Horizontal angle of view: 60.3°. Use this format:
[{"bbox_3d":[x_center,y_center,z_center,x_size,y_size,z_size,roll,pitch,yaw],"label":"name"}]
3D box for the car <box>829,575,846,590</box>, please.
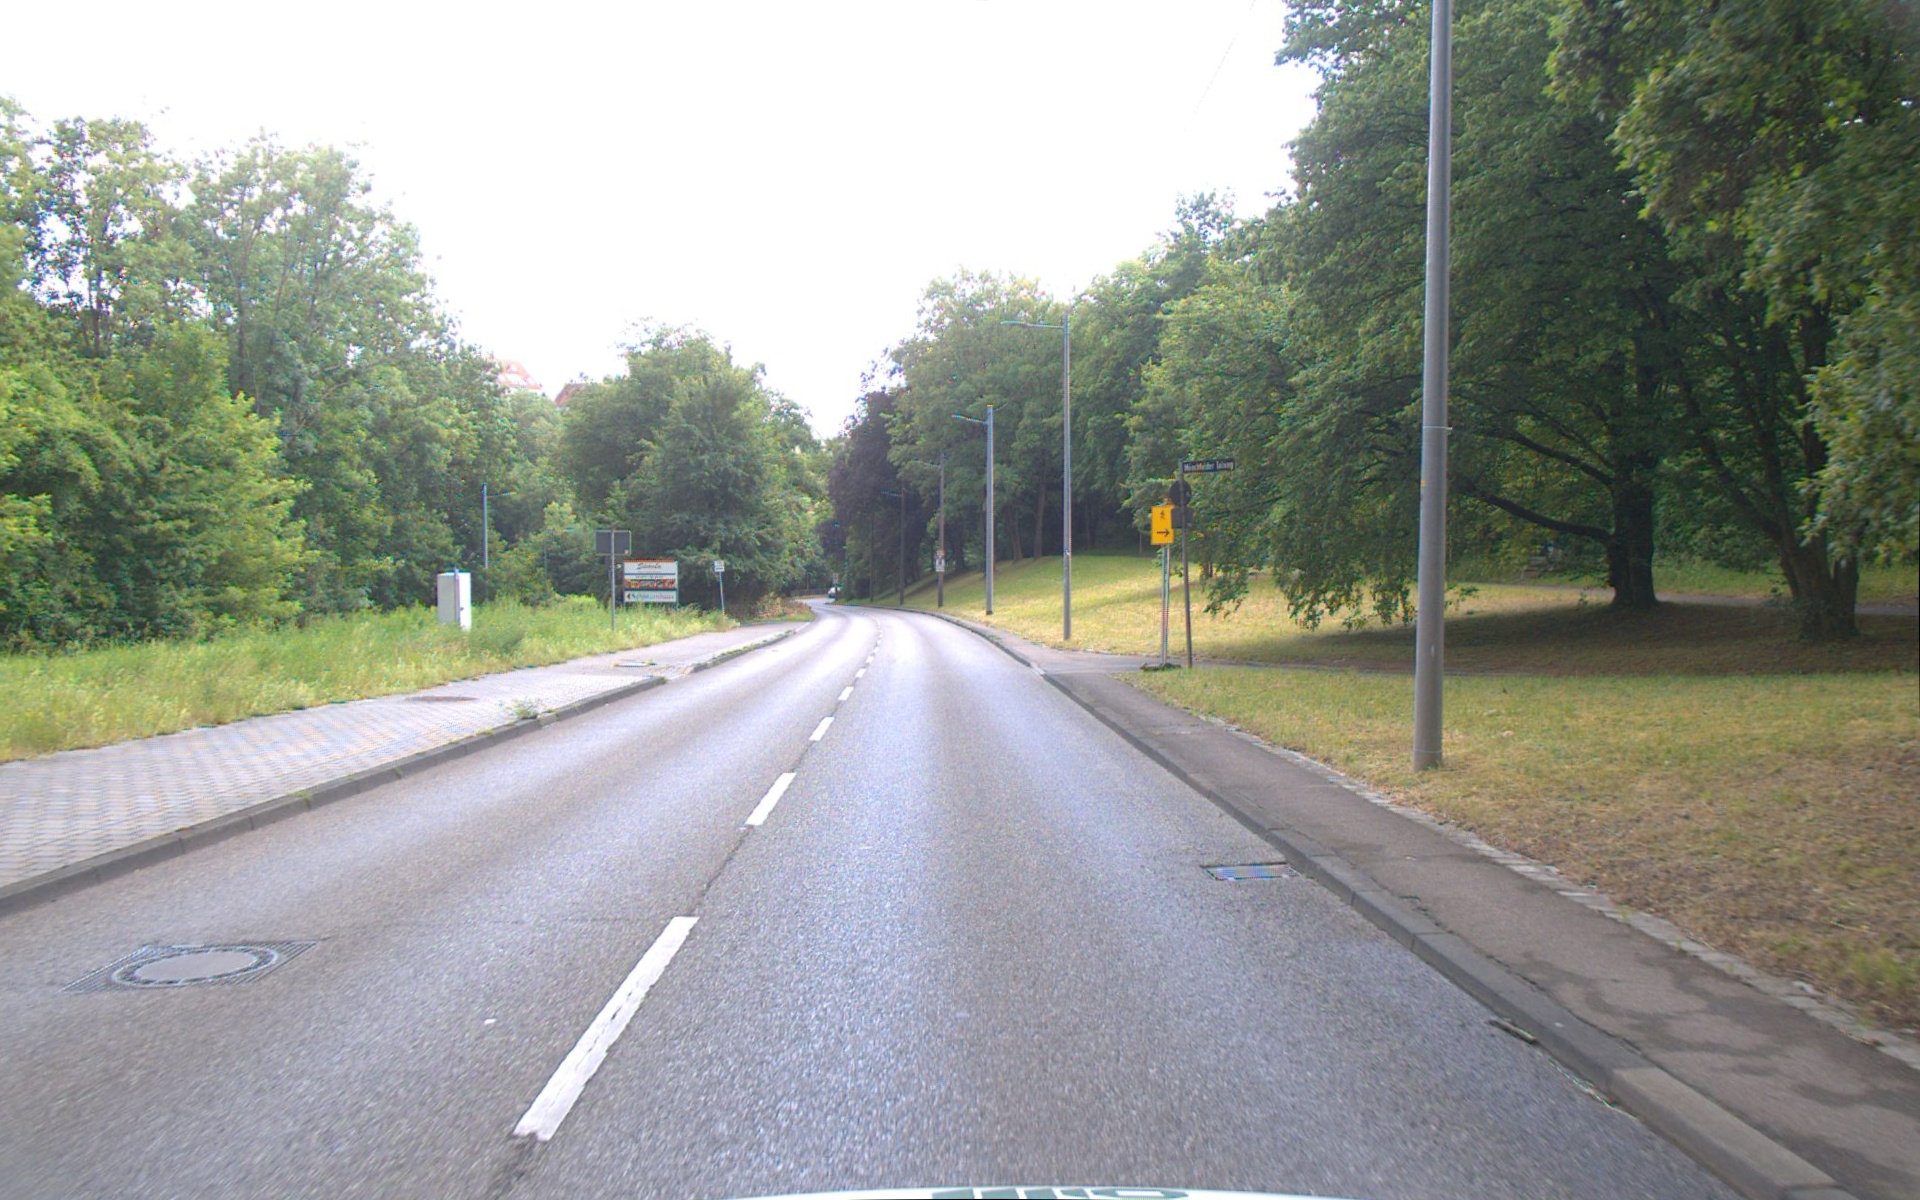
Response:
[{"bbox_3d":[-17.085,-2.413,230.420,1.952,2.049,4.001,1,0,1],"label":"car"}]
